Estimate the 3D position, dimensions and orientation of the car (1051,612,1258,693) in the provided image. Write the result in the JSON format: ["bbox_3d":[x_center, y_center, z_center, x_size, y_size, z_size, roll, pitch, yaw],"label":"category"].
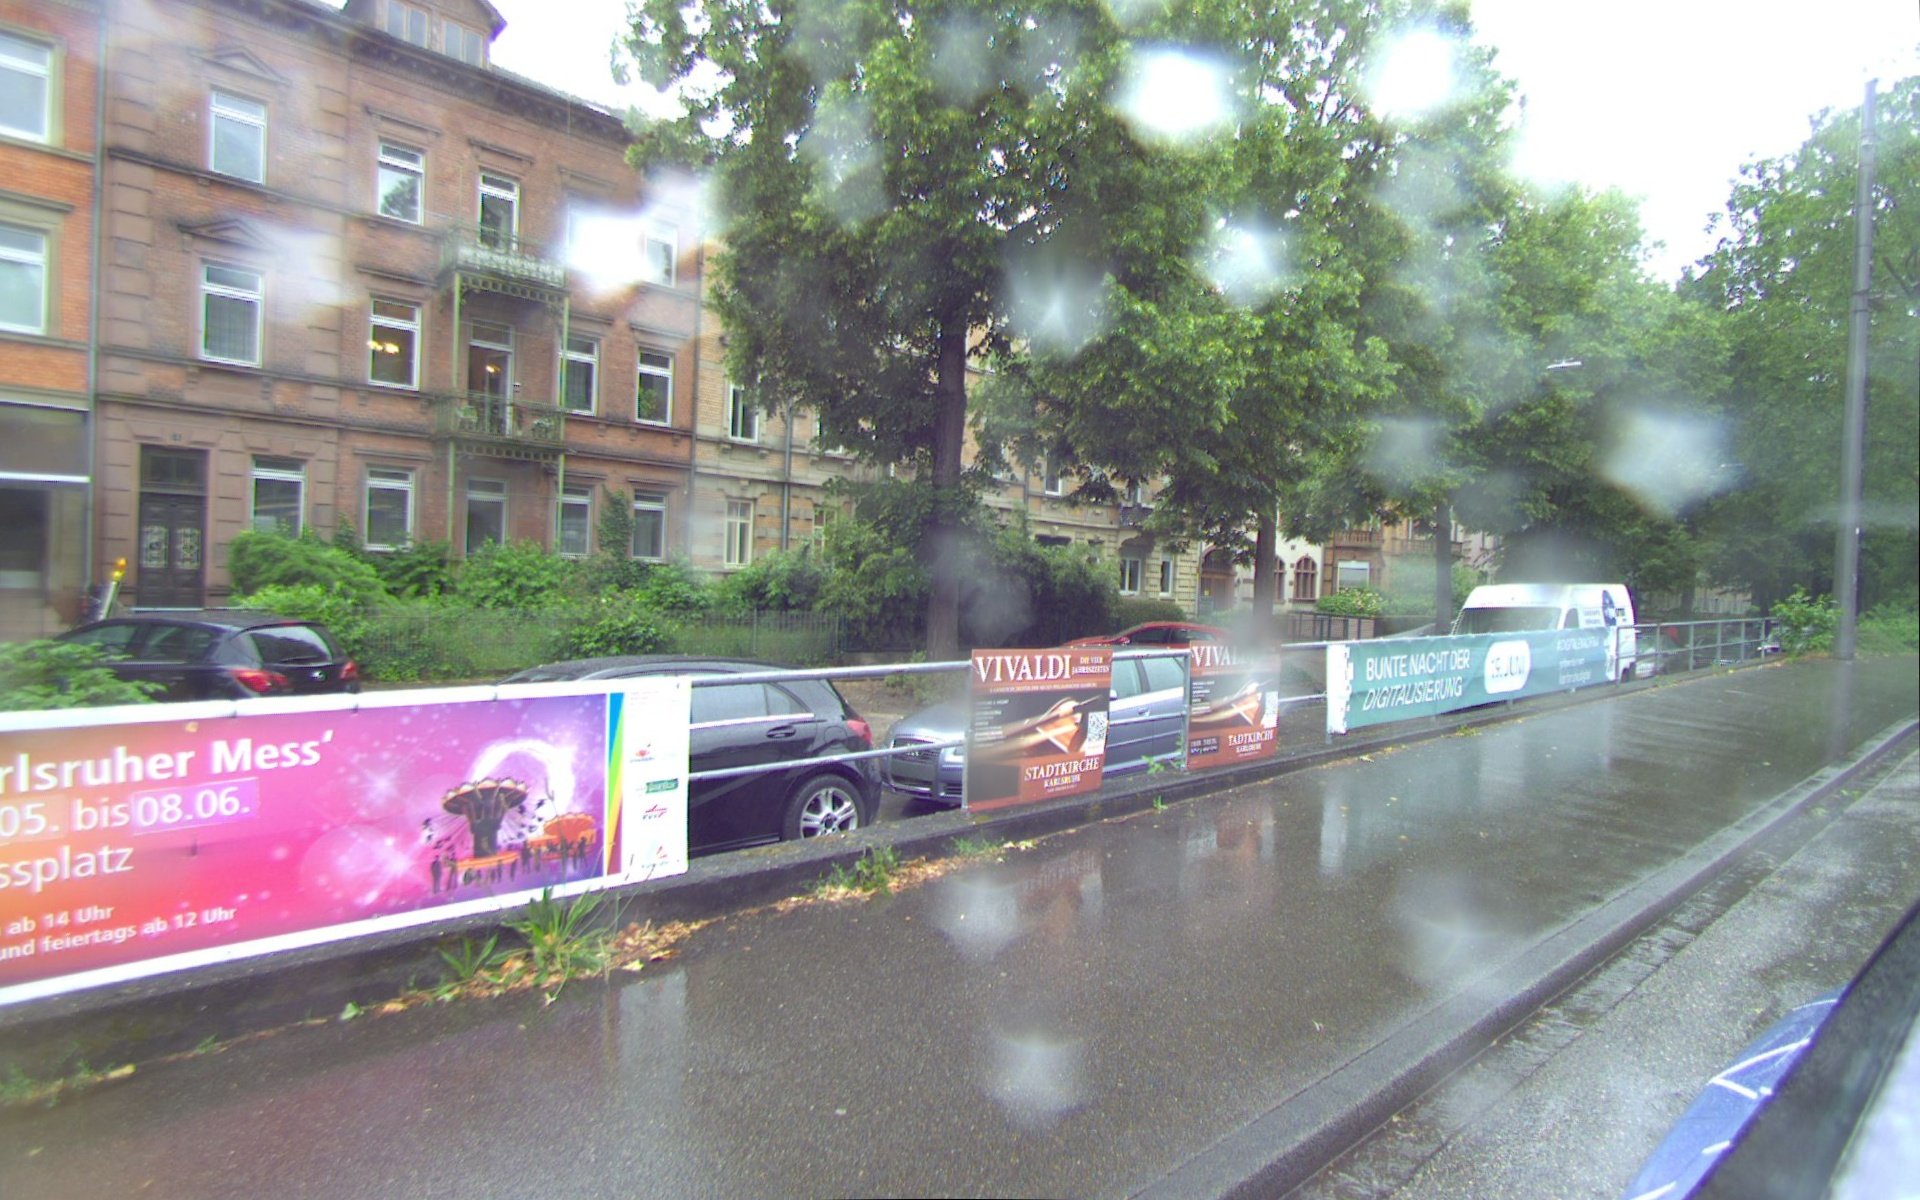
[{"bbox_3d":[4.401,1.117,22.746,4.372,1.471,1.888,2,1,18],"label":"car"}]

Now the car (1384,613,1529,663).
[{"bbox_3d":[16.522,1.230,33.906,4.214,1.397,1.679,2,2,22],"label":"car"}]

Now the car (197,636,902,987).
[{"bbox_3d":[-2.434,1.030,6.538,3.903,1.417,1.706,0,1,-41],"label":"car"}]

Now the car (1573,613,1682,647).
[{"bbox_3d":[32.083,1.419,48.744,3.942,1.482,1.904,0,1,15],"label":"car"}]

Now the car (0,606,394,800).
[{"bbox_3d":[-8.523,0.979,11.262,3.958,1.735,1.983,1,1,25],"label":"car"}]

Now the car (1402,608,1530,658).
[{"bbox_3d":[17.923,1.139,36.050,3.958,1.523,1.645,2,2,25],"label":"car"}]

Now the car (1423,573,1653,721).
[{"bbox_3d":[11.375,0.766,19.682,6.055,2.451,2.211,0,0,-43],"label":"car"}]

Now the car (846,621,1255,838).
[{"bbox_3d":[1.024,1.042,9.809,4.006,1.559,1.734,0,0,-43],"label":"car"}]

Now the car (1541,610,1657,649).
[{"bbox_3d":[28.511,1.302,45.308,3.942,1.585,1.991,0,1,15],"label":"car"}]

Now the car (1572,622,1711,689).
[{"bbox_3d":[16.526,1.269,24.467,4.312,1.370,1.968,0,0,-44],"label":"car"}]

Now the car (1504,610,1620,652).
[{"bbox_3d":[25.603,1.281,43.187,3.947,1.629,1.815,1,1,19],"label":"car"}]
